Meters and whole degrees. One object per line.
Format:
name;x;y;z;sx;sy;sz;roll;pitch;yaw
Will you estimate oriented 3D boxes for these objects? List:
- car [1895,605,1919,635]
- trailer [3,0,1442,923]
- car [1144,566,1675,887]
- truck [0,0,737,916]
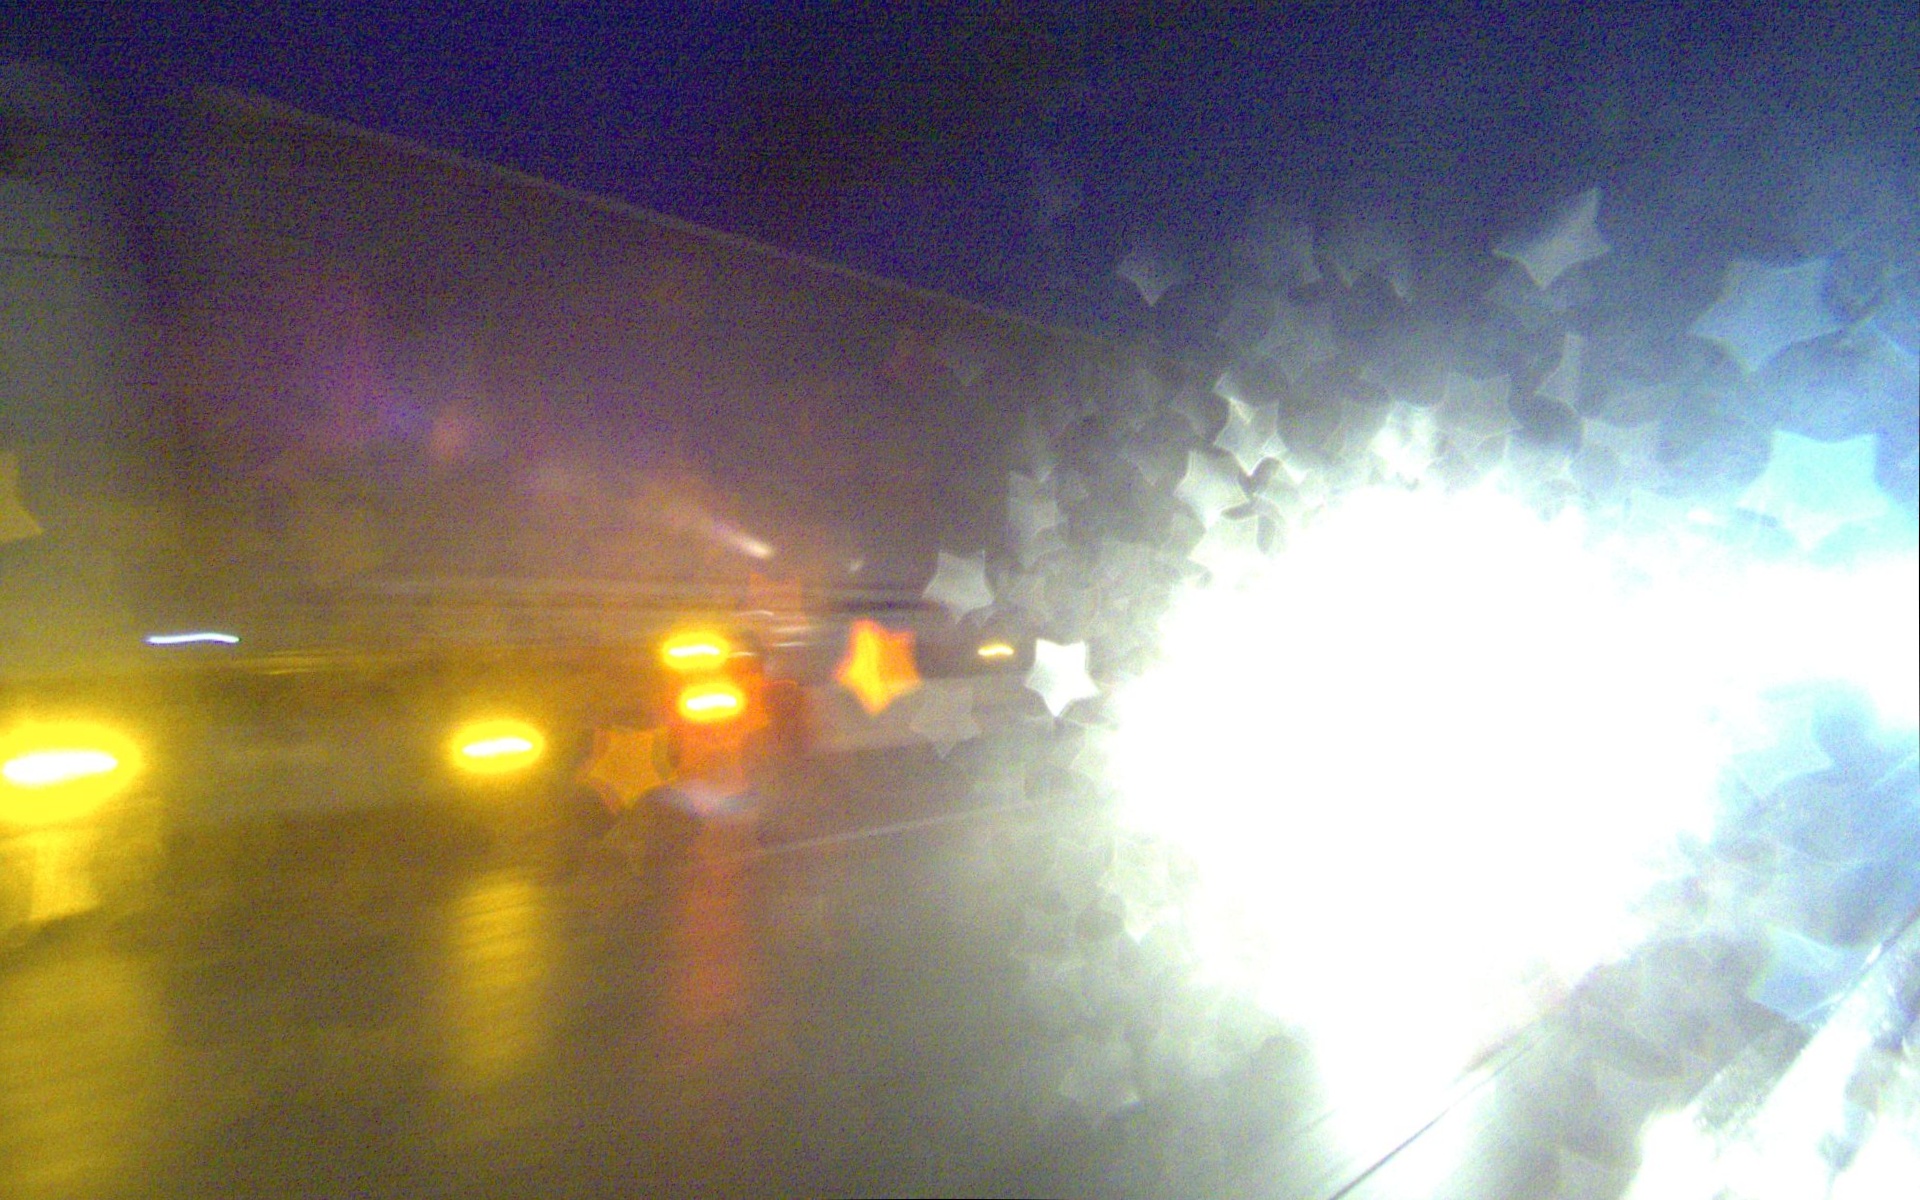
car;51.357;1.081;54.217;3.946;1.522;1.641;1;0;-44
trailer;0.249;-0.723;10.215;14.236;4.159;2.908;0;2;-42
car;3.385;0.597;7.148;4.416;1.595;1.743;0;1;-41
truck;-4.684;-0.761;5.837;5.926;4.159;2.909;0;2;-41
